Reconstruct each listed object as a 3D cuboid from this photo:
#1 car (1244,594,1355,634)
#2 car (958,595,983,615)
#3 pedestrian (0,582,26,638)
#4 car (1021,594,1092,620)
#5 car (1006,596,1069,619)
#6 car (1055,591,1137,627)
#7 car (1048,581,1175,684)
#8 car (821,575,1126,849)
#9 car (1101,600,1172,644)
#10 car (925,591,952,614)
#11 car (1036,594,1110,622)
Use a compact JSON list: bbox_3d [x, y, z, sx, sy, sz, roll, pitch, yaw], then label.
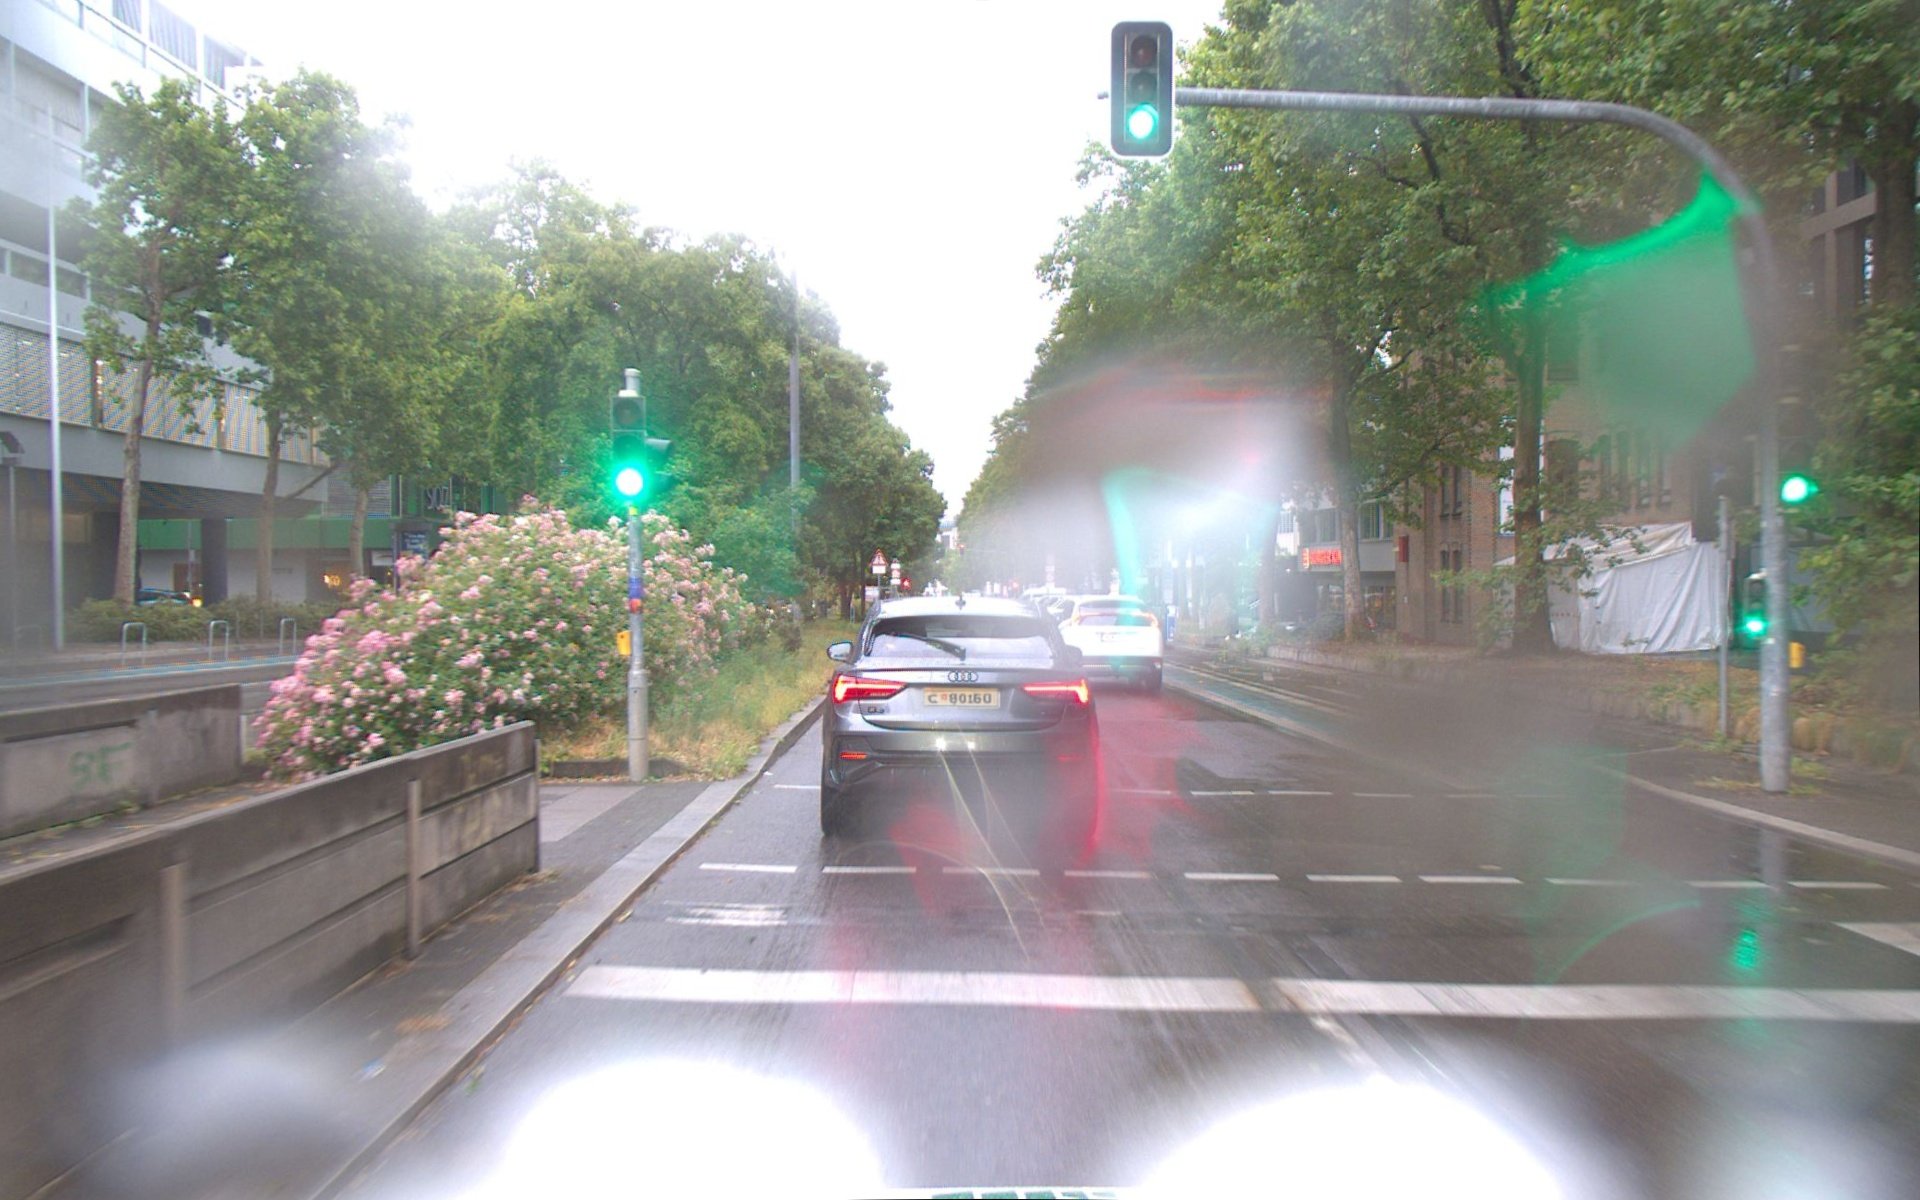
[{"bbox_3d":[9.792,0.410,47.769,2.830,1.093,1.453,1,-1,30],"label":"car"},{"bbox_3d":[0.878,0.442,140.146,1.953,1.680,3.999,1,-1,-1],"label":"car"},{"bbox_3d":[-26.043,0.280,45.256,0.597,1.508,0.574,1,-1,-4],"label":"pedestrian"},{"bbox_3d":[6.751,0.492,115.983,4.548,1.736,1.998,1,-1,27],"label":"car"},{"bbox_3d":[6.070,0.586,129.763,4.548,1.736,1.998,1,-1,27],"label":"car"},{"bbox_3d":[8.038,0.534,98.118,4.517,2.049,1.960,1,-1,37],"label":"car"},{"bbox_3d":[2.697,0.574,30.254,1.840,1.727,3.999,1,-1,-1],"label":"car"},{"bbox_3d":[0.014,0.678,11.894,1.812,1.630,3.998,1,0,-2],"label":"car"},{"bbox_3d":[6.091,0.748,57.550,1.835,1.446,4.610,1,0,-1],"label":"car"},{"bbox_3d":[-1.693,0.224,129.215,1.953,1.757,3.998,1,-1,-2],"label":"car"},{"bbox_3d":[7.678,0.543,112.448,4.548,1.736,1.998,1,-1,27],"label":"car"}]
